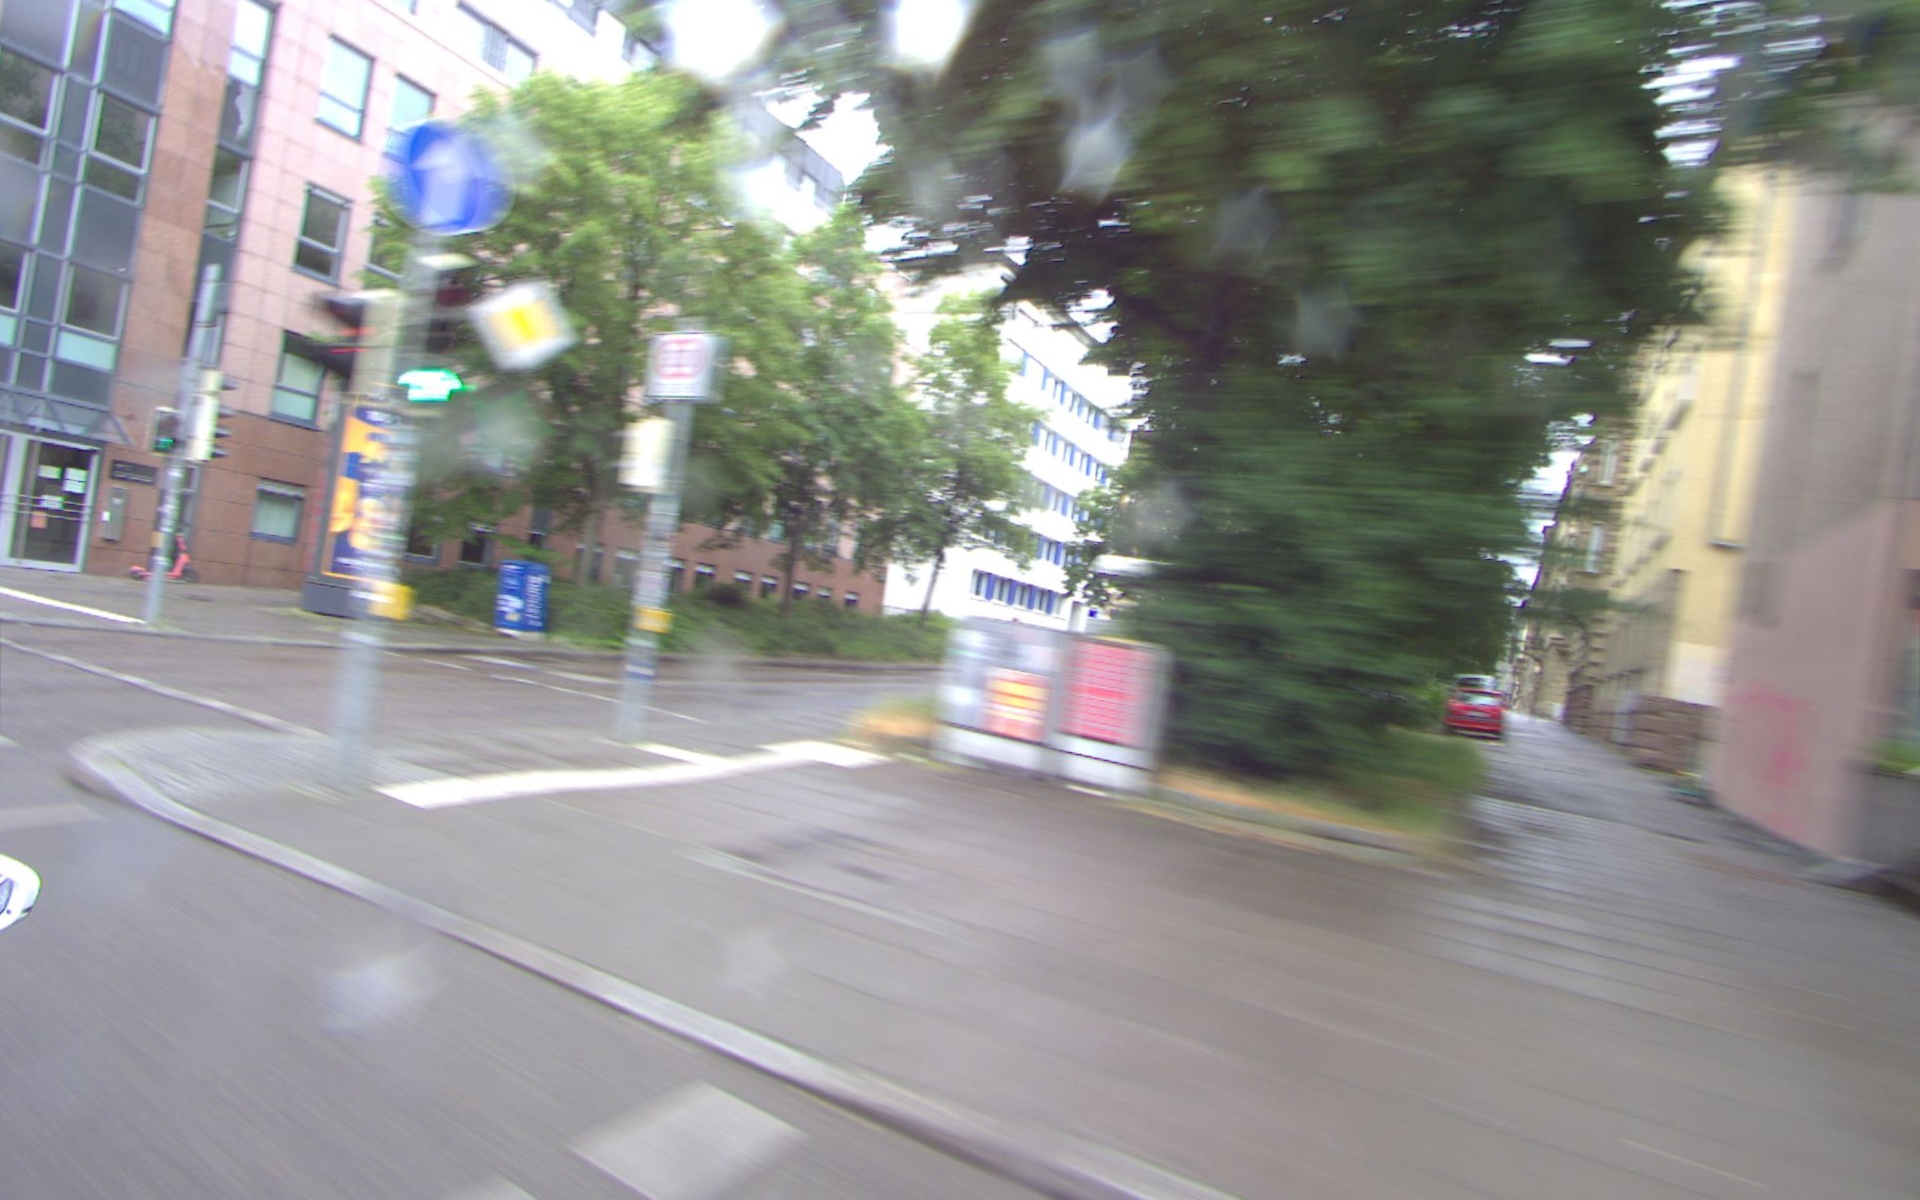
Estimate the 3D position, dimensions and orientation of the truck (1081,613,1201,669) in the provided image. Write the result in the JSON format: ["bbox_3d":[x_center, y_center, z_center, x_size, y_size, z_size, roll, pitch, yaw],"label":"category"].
[{"bbox_3d":[9.988,2.243,55.668,5.979,2.305,2.263,6,-1,28],"label":"truck"}]

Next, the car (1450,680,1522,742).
[{"bbox_3d":[15.538,3.236,29.664,1.645,1.473,3.669,6,-2,29],"label":"car"}]

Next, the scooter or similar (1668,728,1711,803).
[{"bbox_3d":[12.599,2.841,17.382,0.374,1.187,0.925,7,-1,29],"label":"scooter or similar"}]

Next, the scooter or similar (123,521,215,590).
[{"bbox_3d":[-16.274,-0.901,20.727,0.320,1.242,1.376,6,-1,31],"label":"scooter or similar"}]
